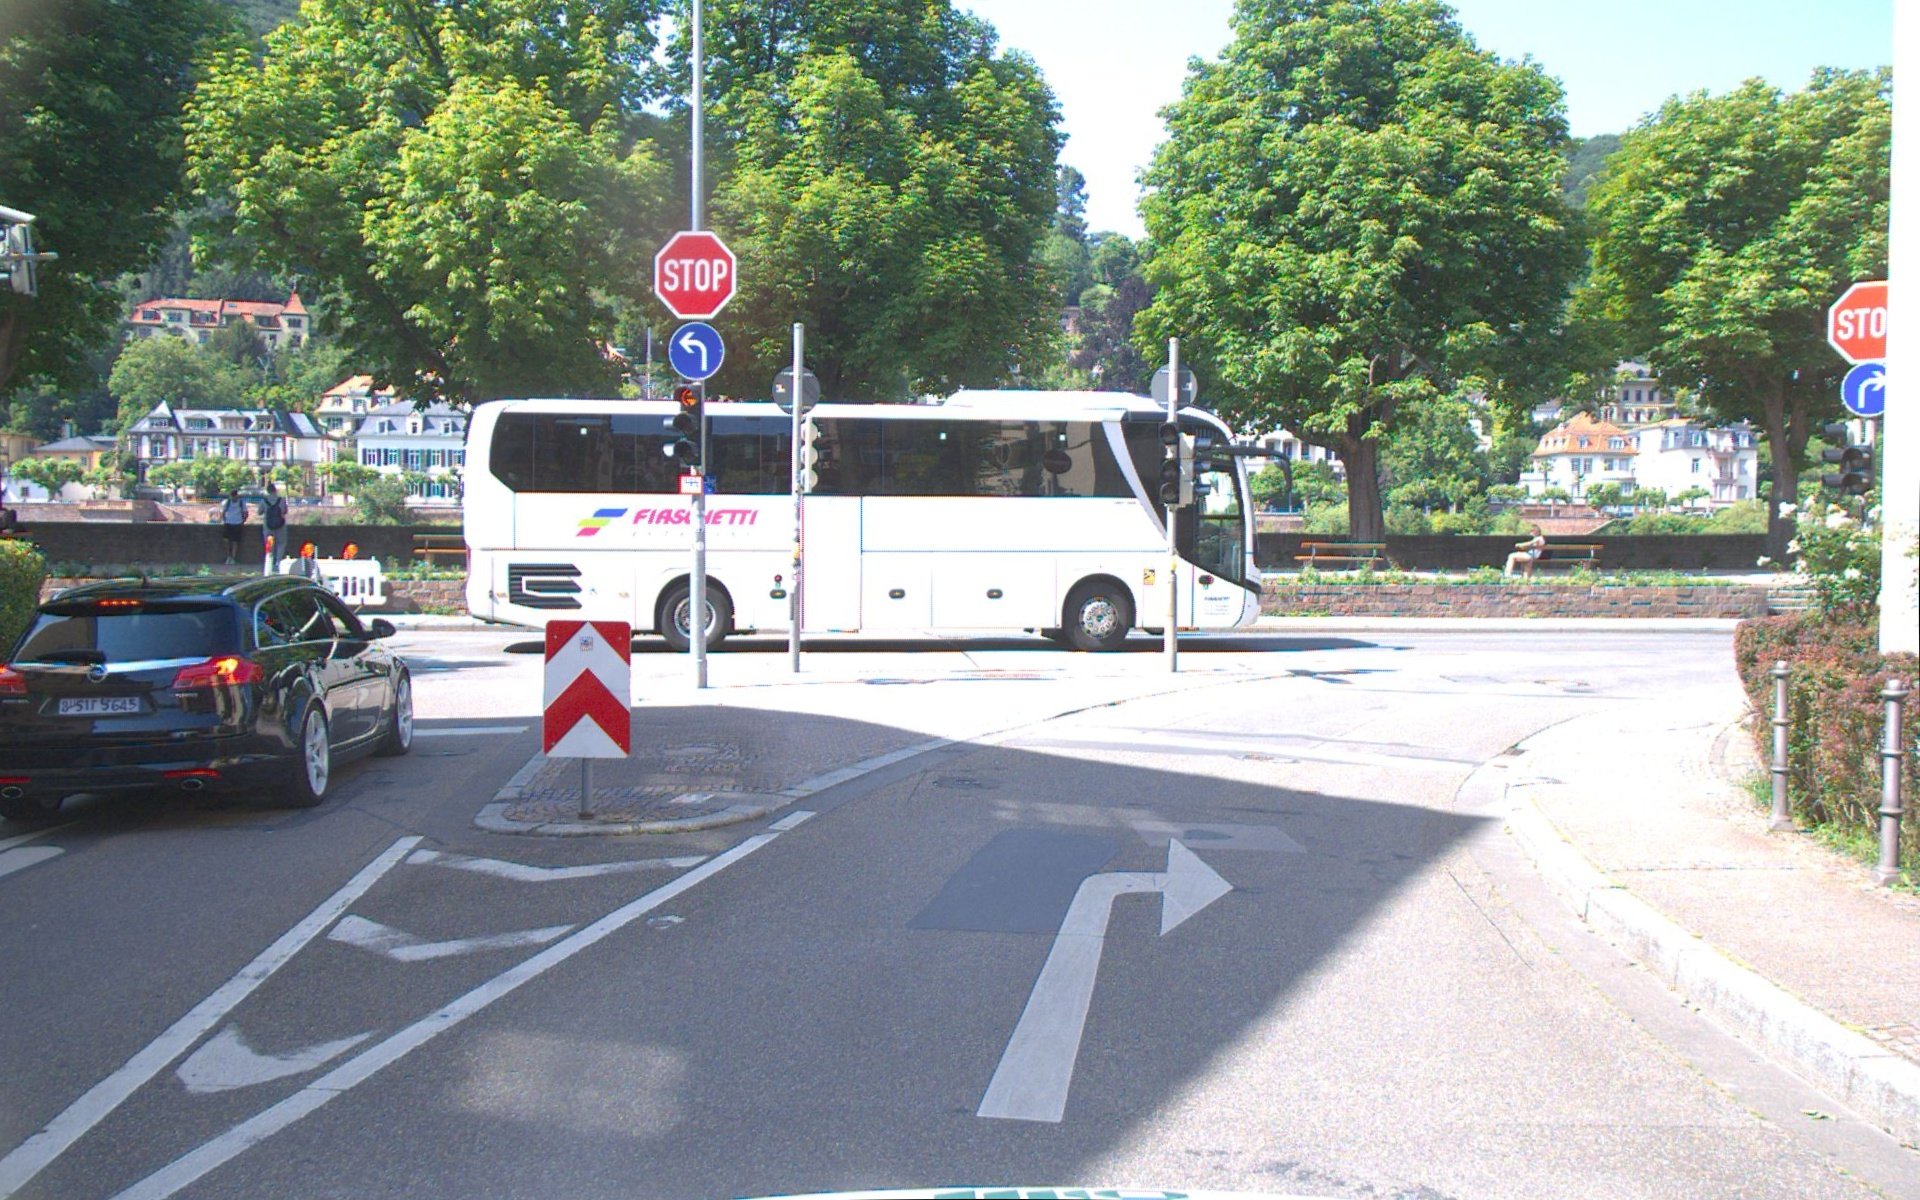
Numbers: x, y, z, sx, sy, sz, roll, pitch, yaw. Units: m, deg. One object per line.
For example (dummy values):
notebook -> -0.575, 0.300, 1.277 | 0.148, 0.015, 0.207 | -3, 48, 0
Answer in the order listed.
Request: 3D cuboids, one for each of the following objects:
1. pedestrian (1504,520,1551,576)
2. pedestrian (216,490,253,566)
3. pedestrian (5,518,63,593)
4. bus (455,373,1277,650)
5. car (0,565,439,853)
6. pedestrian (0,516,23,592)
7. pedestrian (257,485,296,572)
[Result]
pedestrian -> 13.035, -1.190, 38.029 | 0.782, 1.232, 0.715 | 2, -2, -4
pedestrian -> -17.188, -1.690, 39.211 | 0.696, 1.762, 0.753 | 1, 1, -17
pedestrian -> -18.900, -0.911, 33.787 | 0.458, 1.505, 1.384 | 0, 1, -3
bus -> -1.341, -1.247, 25.365 | 11.914, 3.854, 2.902 | 0, 1, -9
car -> -4.929, 0.547, 11.425 | 1.682, 1.487, 4.717 | -2, 2, -7
pedestrian -> -19.418, -0.928, 33.495 | 0.458, 1.519, 0.804 | 0, 1, -3
pedestrian -> -15.086, -1.573, 36.495 | 0.753, 1.890, 0.751 | 0, 1, -25
